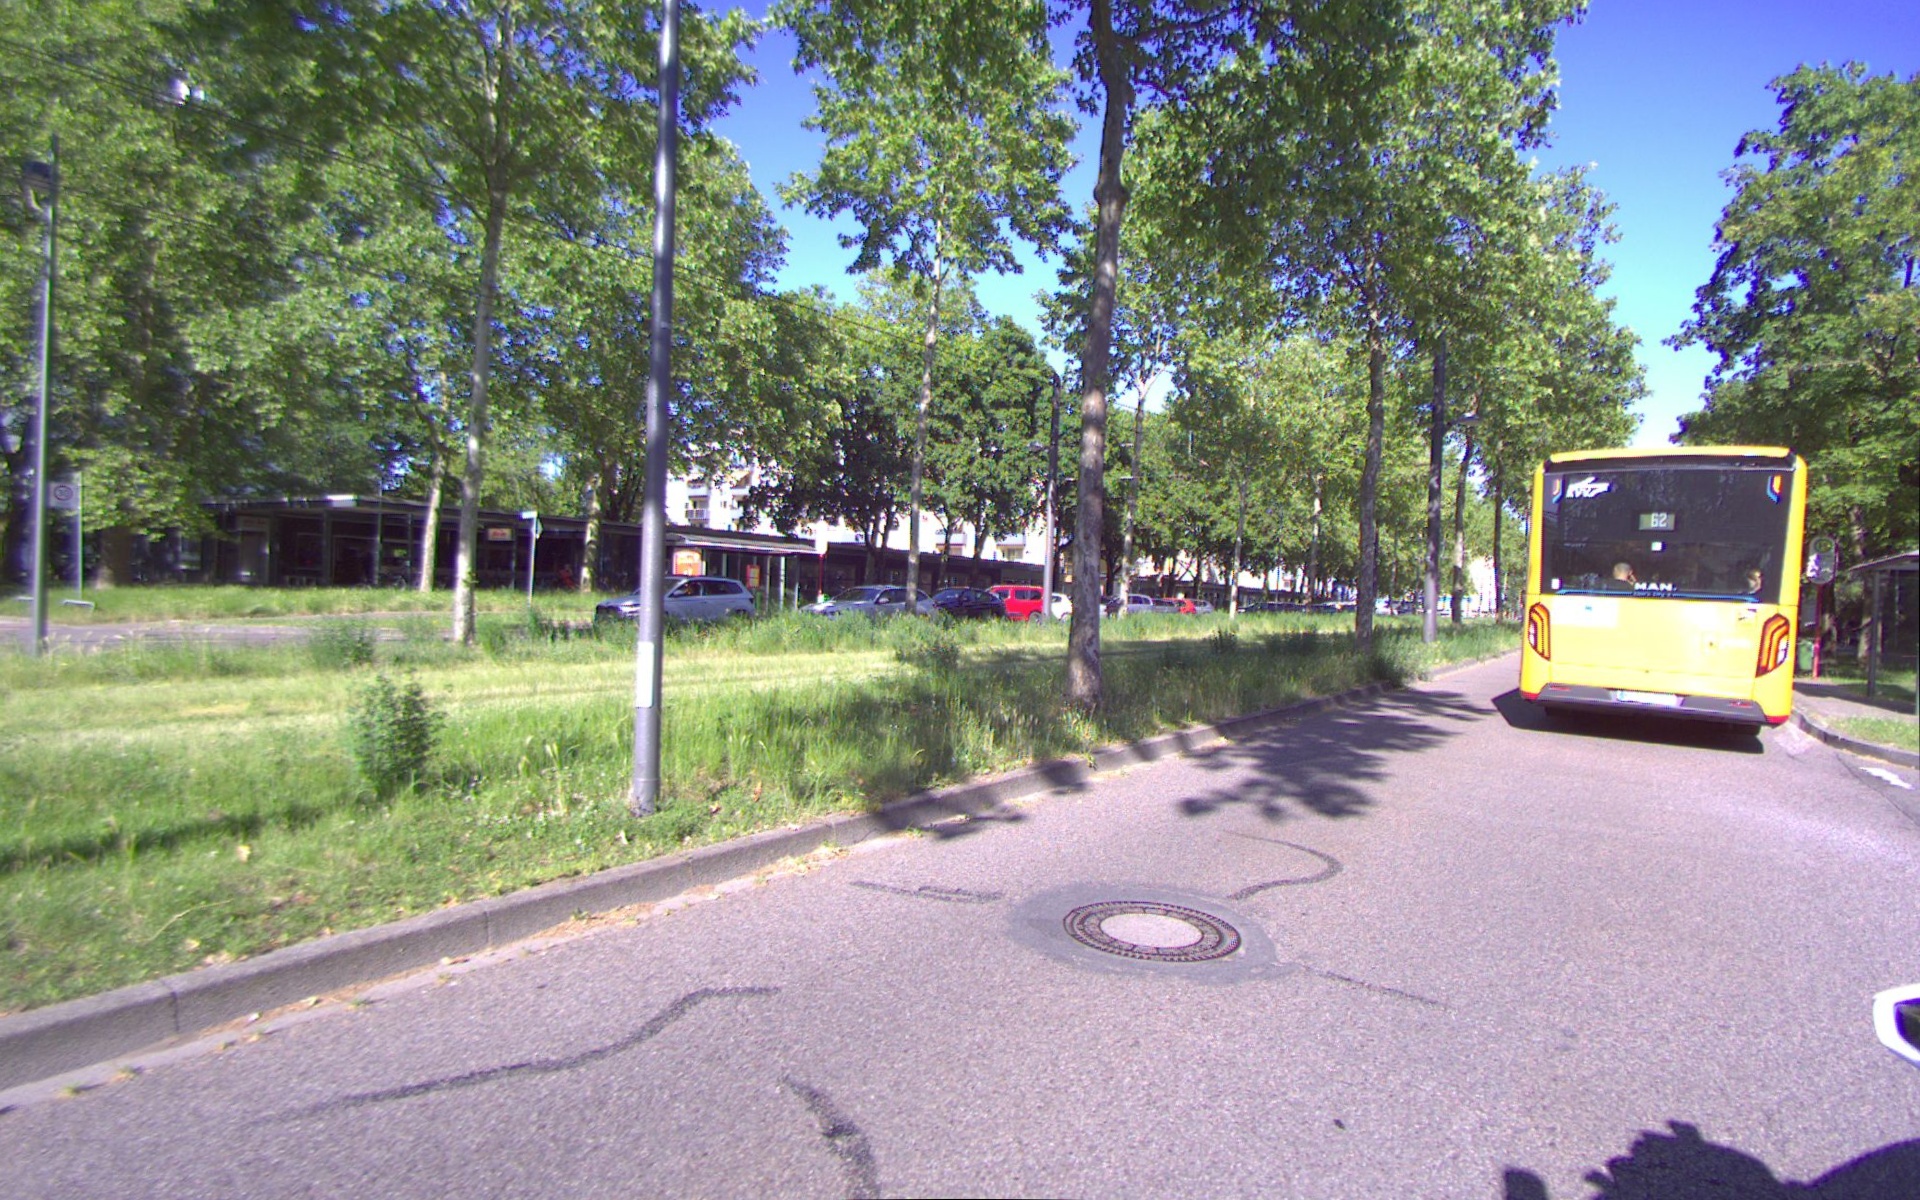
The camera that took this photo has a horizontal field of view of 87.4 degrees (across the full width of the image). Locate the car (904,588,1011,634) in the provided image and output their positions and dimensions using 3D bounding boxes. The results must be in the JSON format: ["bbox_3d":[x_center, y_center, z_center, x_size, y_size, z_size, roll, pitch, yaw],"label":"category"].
[{"bbox_3d":[-0.029,0.410,36.487,1.772,1.530,3.983,2,1,38],"label":"car"}]

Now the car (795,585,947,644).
[{"bbox_3d":[-2.460,0.405,28.953,1.770,1.530,4.660,2,1,34],"label":"car"}]

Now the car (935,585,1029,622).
[{"bbox_3d":[0.961,0.146,45.223,3.928,1.530,1.797,2,1,-10],"label":"car"}]

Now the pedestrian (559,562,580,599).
[{"bbox_3d":[-18.192,-0.895,46.772,0.639,1.683,0.648,2,1,32],"label":"pedestrian"}]

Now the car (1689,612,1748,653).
[{"bbox_3d":[31.649,1.322,41.992,1.770,1.530,3.987,2,1,35],"label":"car"}]

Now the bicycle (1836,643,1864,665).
[{"bbox_3d":[49.216,2.971,55.545,0.745,1.122,1.797,2,1,28],"label":"bicycle"}]

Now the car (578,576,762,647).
[{"bbox_3d":[-7.224,0.274,25.387,1.771,1.601,4.271,2,1,37],"label":"car"}]

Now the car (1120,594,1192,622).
[{"bbox_3d":[12.125,0.492,62.211,3.928,1.530,1.797,2,1,-10],"label":"car"}]

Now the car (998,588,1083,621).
[{"bbox_3d":[4.021,0.228,50.519,3.928,1.530,1.797,2,1,-10],"label":"car"}]

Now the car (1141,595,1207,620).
[{"bbox_3d":[14.445,0.521,67.809,3.928,1.530,1.797,2,1,-10],"label":"car"}]

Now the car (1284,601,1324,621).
[{"bbox_3d":[28.038,0.890,81.908,1.773,1.530,3.981,2,1,40],"label":"car"}]

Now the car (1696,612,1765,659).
[{"bbox_3d":[27.754,1.243,36.278,1.770,1.530,3.987,2,1,35],"label":"car"}]

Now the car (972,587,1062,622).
[{"bbox_3d":[2.699,0.205,47.801,3.928,1.530,1.797,2,1,-10],"label":"car"}]

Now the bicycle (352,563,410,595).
[{"bbox_3d":[-20.992,-0.750,36.449,0.546,1.122,1.797,2,1,28],"label":"bicycle"}]

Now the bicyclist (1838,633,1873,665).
[{"bbox_3d":[49.405,2.684,55.447,1.161,1.683,1.027,2,1,28],"label":"bicyclist"}]

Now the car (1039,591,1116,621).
[{"bbox_3d":[6.564,0.333,56.154,3.925,1.530,1.798,2,1,-7],"label":"car"}]

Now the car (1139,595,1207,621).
[{"bbox_3d":[13.815,0.514,65.229,3.928,1.530,1.797,2,1,-10],"label":"car"}]

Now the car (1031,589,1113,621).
[{"bbox_3d":[5.942,0.258,53.459,3.928,1.530,1.797,2,1,-10],"label":"car"}]

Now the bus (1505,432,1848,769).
[{"bbox_3d":[11.023,0.048,15.671,2.861,3.310,12.176,2,1,36],"label":"bus"}]

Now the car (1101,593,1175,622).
[{"bbox_3d":[10.462,0.443,59.183,3.928,1.530,1.797,2,1,-10],"label":"car"}]

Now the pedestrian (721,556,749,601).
[{"bbox_3d":[-7.513,-0.714,33.552,0.640,1.479,0.647,2,1,39],"label":"pedestrian"}]
